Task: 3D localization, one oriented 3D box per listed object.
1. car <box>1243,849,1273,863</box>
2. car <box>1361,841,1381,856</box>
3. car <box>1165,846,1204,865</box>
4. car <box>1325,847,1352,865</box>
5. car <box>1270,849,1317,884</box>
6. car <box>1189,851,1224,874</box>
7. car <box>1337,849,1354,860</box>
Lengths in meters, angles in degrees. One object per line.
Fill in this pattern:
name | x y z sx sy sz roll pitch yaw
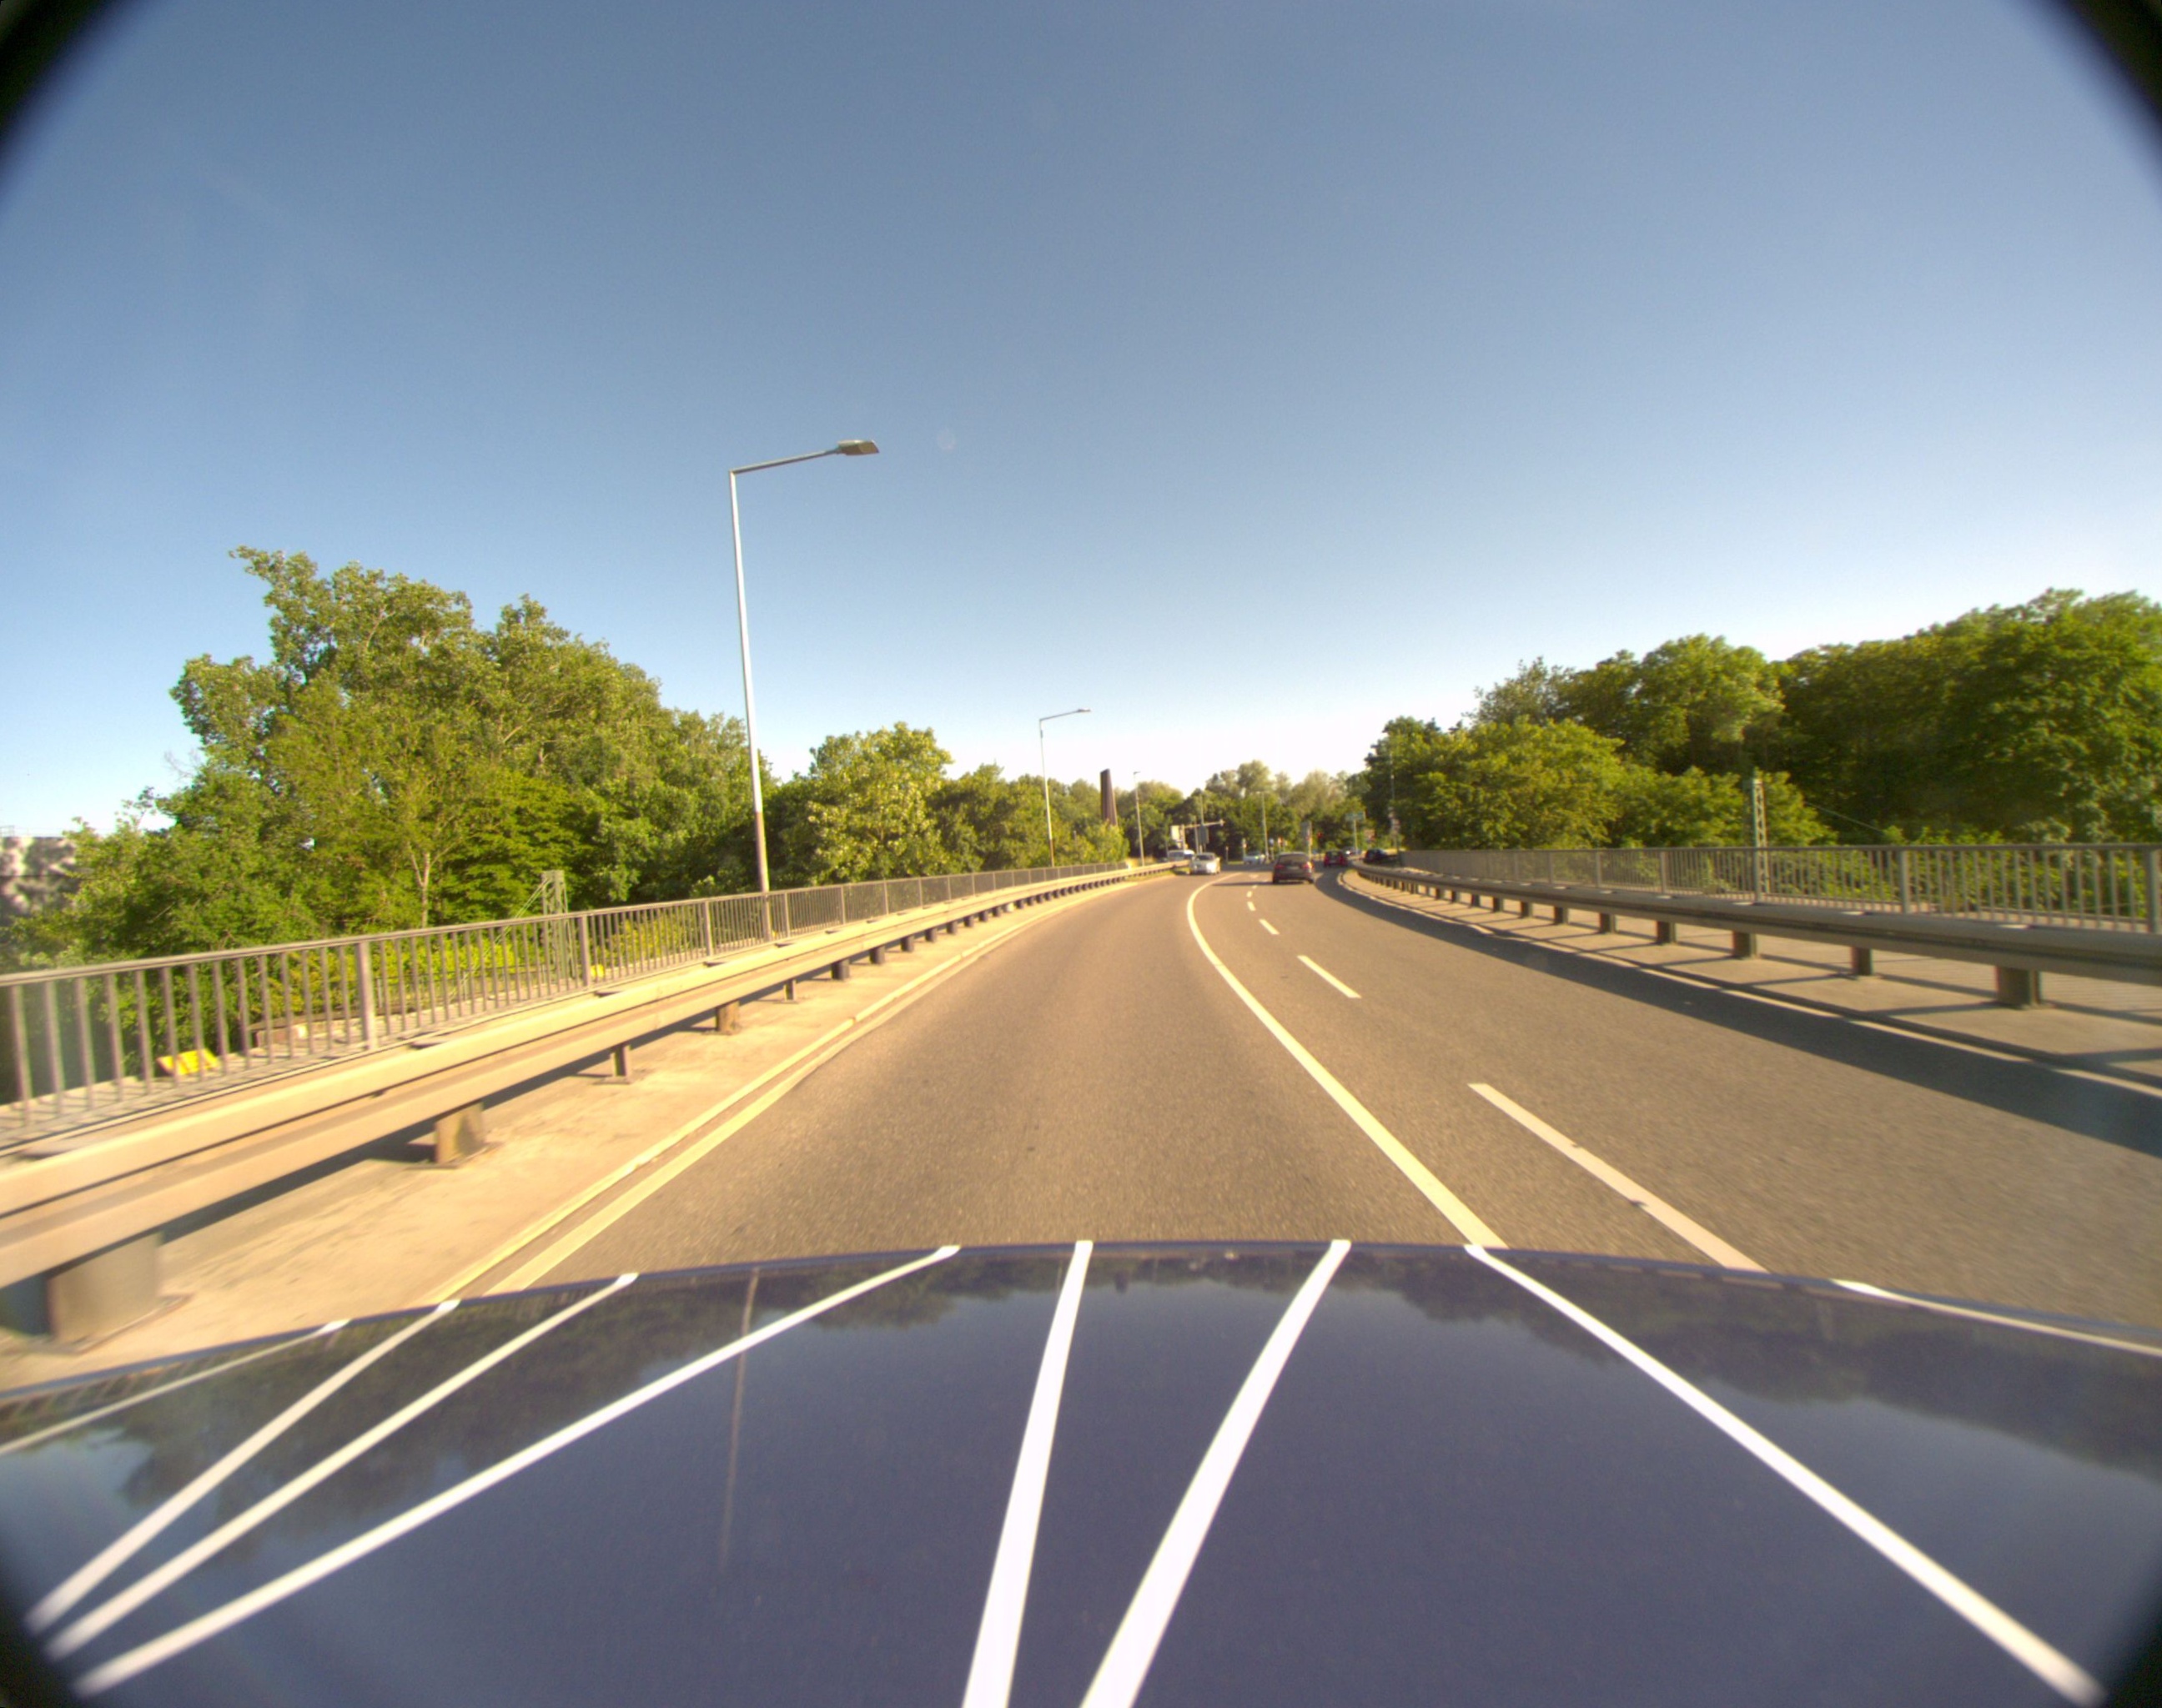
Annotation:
car | 21.238 0.213 91.170 1.989 1.465 4.138 -2 0 37
car | 32.017 -0.614 83.829 1.725 1.477 4.414 -2 0 25
car | 15.318 0.204 113.004 2.119 2.484 5.692 -2 -1 -40
car | 22.050 0.162 65.088 1.783 1.429 3.881 -2 0 24
car | 9.638 0.534 34.537 1.876 1.431 4.326 -2 0 15
car | 8.497 0.524 51.328 1.762 1.428 4.335 -2 0 16
car | 41.710 0.123 119.857 1.918 1.608 3.749 -2 0 29
